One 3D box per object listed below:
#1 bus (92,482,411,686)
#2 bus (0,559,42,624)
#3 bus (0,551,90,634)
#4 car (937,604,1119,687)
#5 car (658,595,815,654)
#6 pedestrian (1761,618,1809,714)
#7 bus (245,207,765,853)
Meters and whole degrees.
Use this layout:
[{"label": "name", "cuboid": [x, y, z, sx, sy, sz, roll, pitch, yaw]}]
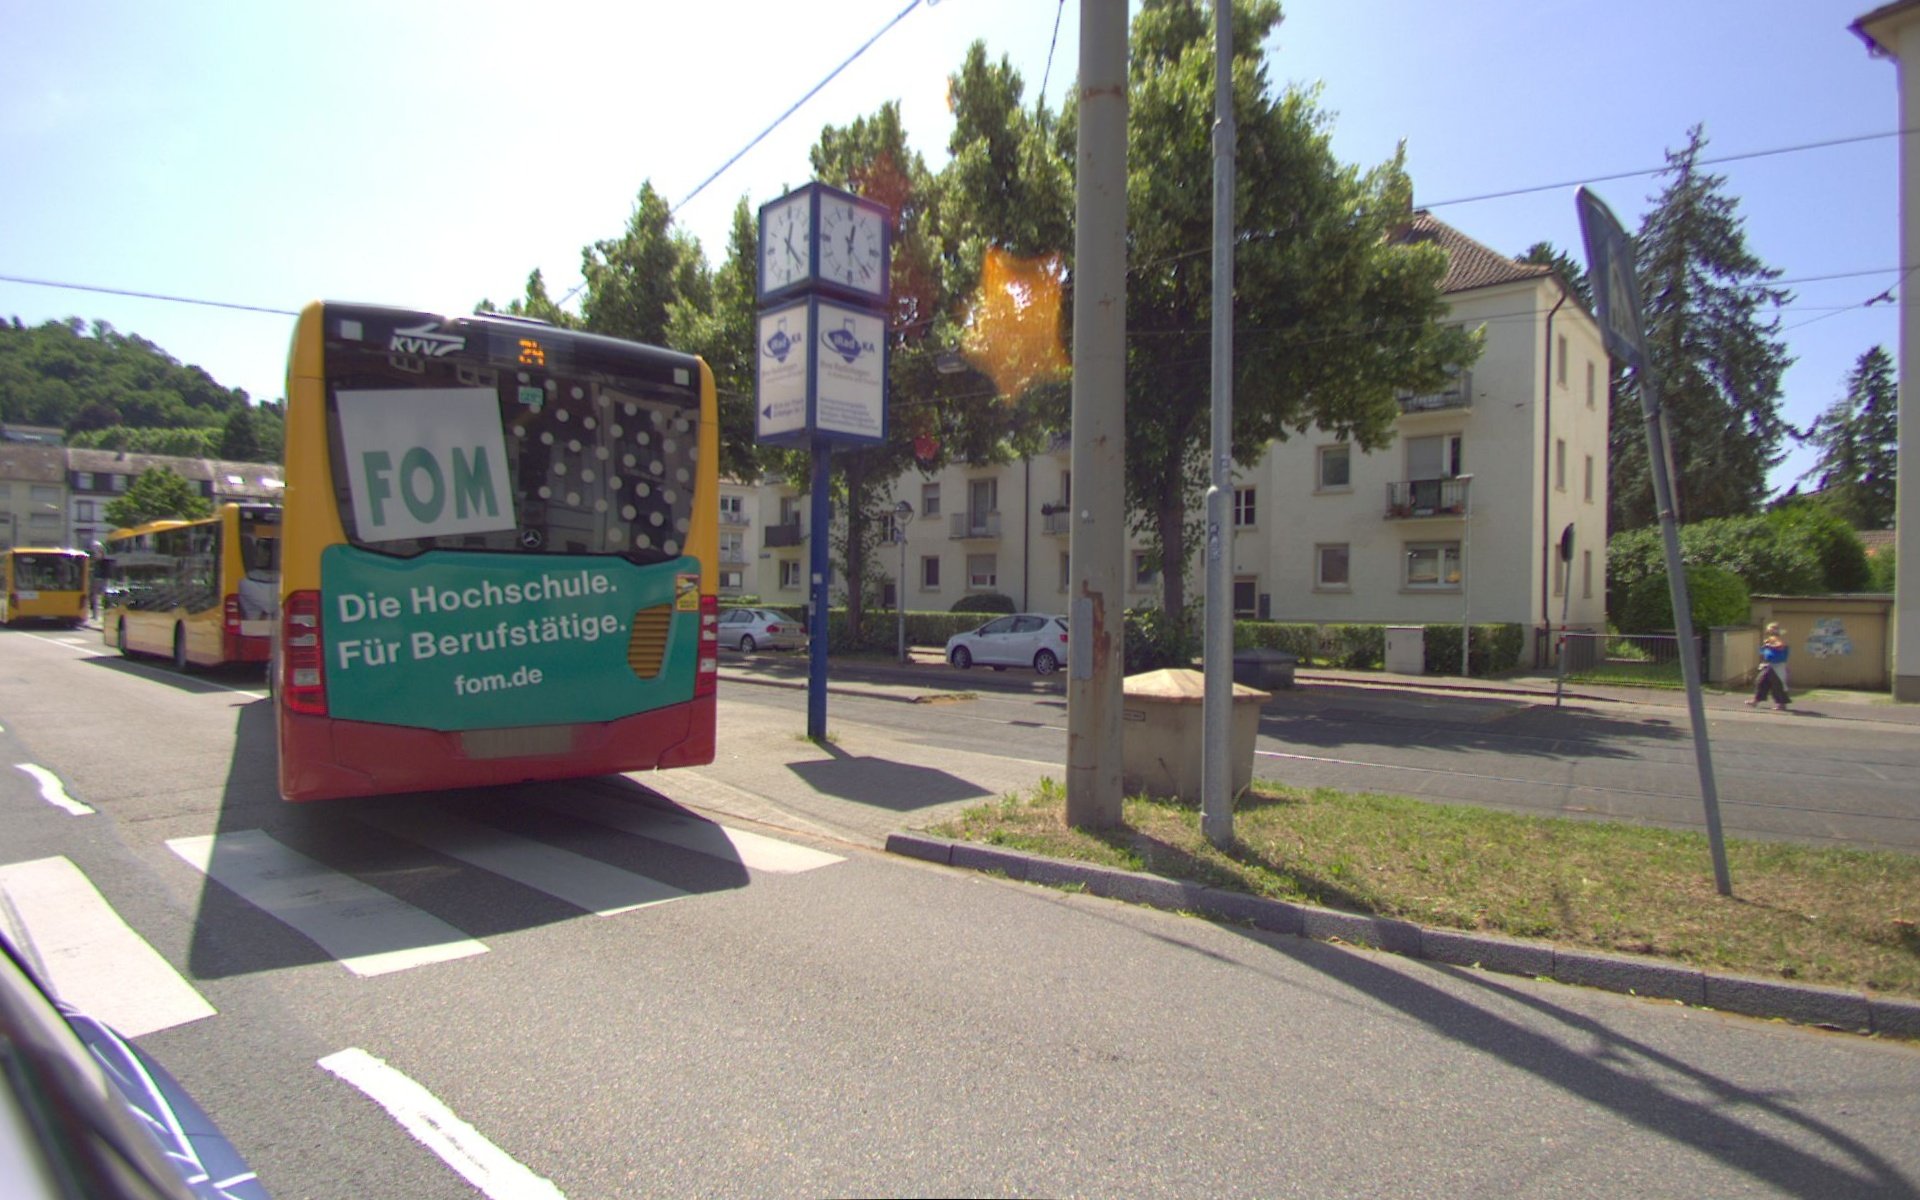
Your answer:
[{"label": "bus", "cuboid": [-15.444, -0.367, 21.393, 12.117, 3.272, 2.876, 1, 2, 42]}, {"label": "bus", "cuboid": [-55.394, -0.439, 58.038, 12.037, 3.452, 2.877, 0, 1, 42]}, {"label": "bus", "cuboid": [-41.217, -0.512, 44.710, 12.198, 3.271, 2.866, 2, 3, 43]}, {"label": "car", "cuboid": [1.547, 0.984, 23.743, 3.996, 1.630, 1.733, 2, 3, 39]}, {"label": "car", "cuboid": [-7.113, 0.691, 31.670, 6.042, 1.468, 1.689, 2, 3, 43]}, {"label": "pedestrian", "cuboid": [15.042, 1.182, 18.466, 0.606, 1.664, 0.568, 2, 2, 37]}, {"label": "bus", "cuboid": [-5.960, -0.362, 10.917, 2.742, 3.232, 12.337, -1, 1, -35]}]
